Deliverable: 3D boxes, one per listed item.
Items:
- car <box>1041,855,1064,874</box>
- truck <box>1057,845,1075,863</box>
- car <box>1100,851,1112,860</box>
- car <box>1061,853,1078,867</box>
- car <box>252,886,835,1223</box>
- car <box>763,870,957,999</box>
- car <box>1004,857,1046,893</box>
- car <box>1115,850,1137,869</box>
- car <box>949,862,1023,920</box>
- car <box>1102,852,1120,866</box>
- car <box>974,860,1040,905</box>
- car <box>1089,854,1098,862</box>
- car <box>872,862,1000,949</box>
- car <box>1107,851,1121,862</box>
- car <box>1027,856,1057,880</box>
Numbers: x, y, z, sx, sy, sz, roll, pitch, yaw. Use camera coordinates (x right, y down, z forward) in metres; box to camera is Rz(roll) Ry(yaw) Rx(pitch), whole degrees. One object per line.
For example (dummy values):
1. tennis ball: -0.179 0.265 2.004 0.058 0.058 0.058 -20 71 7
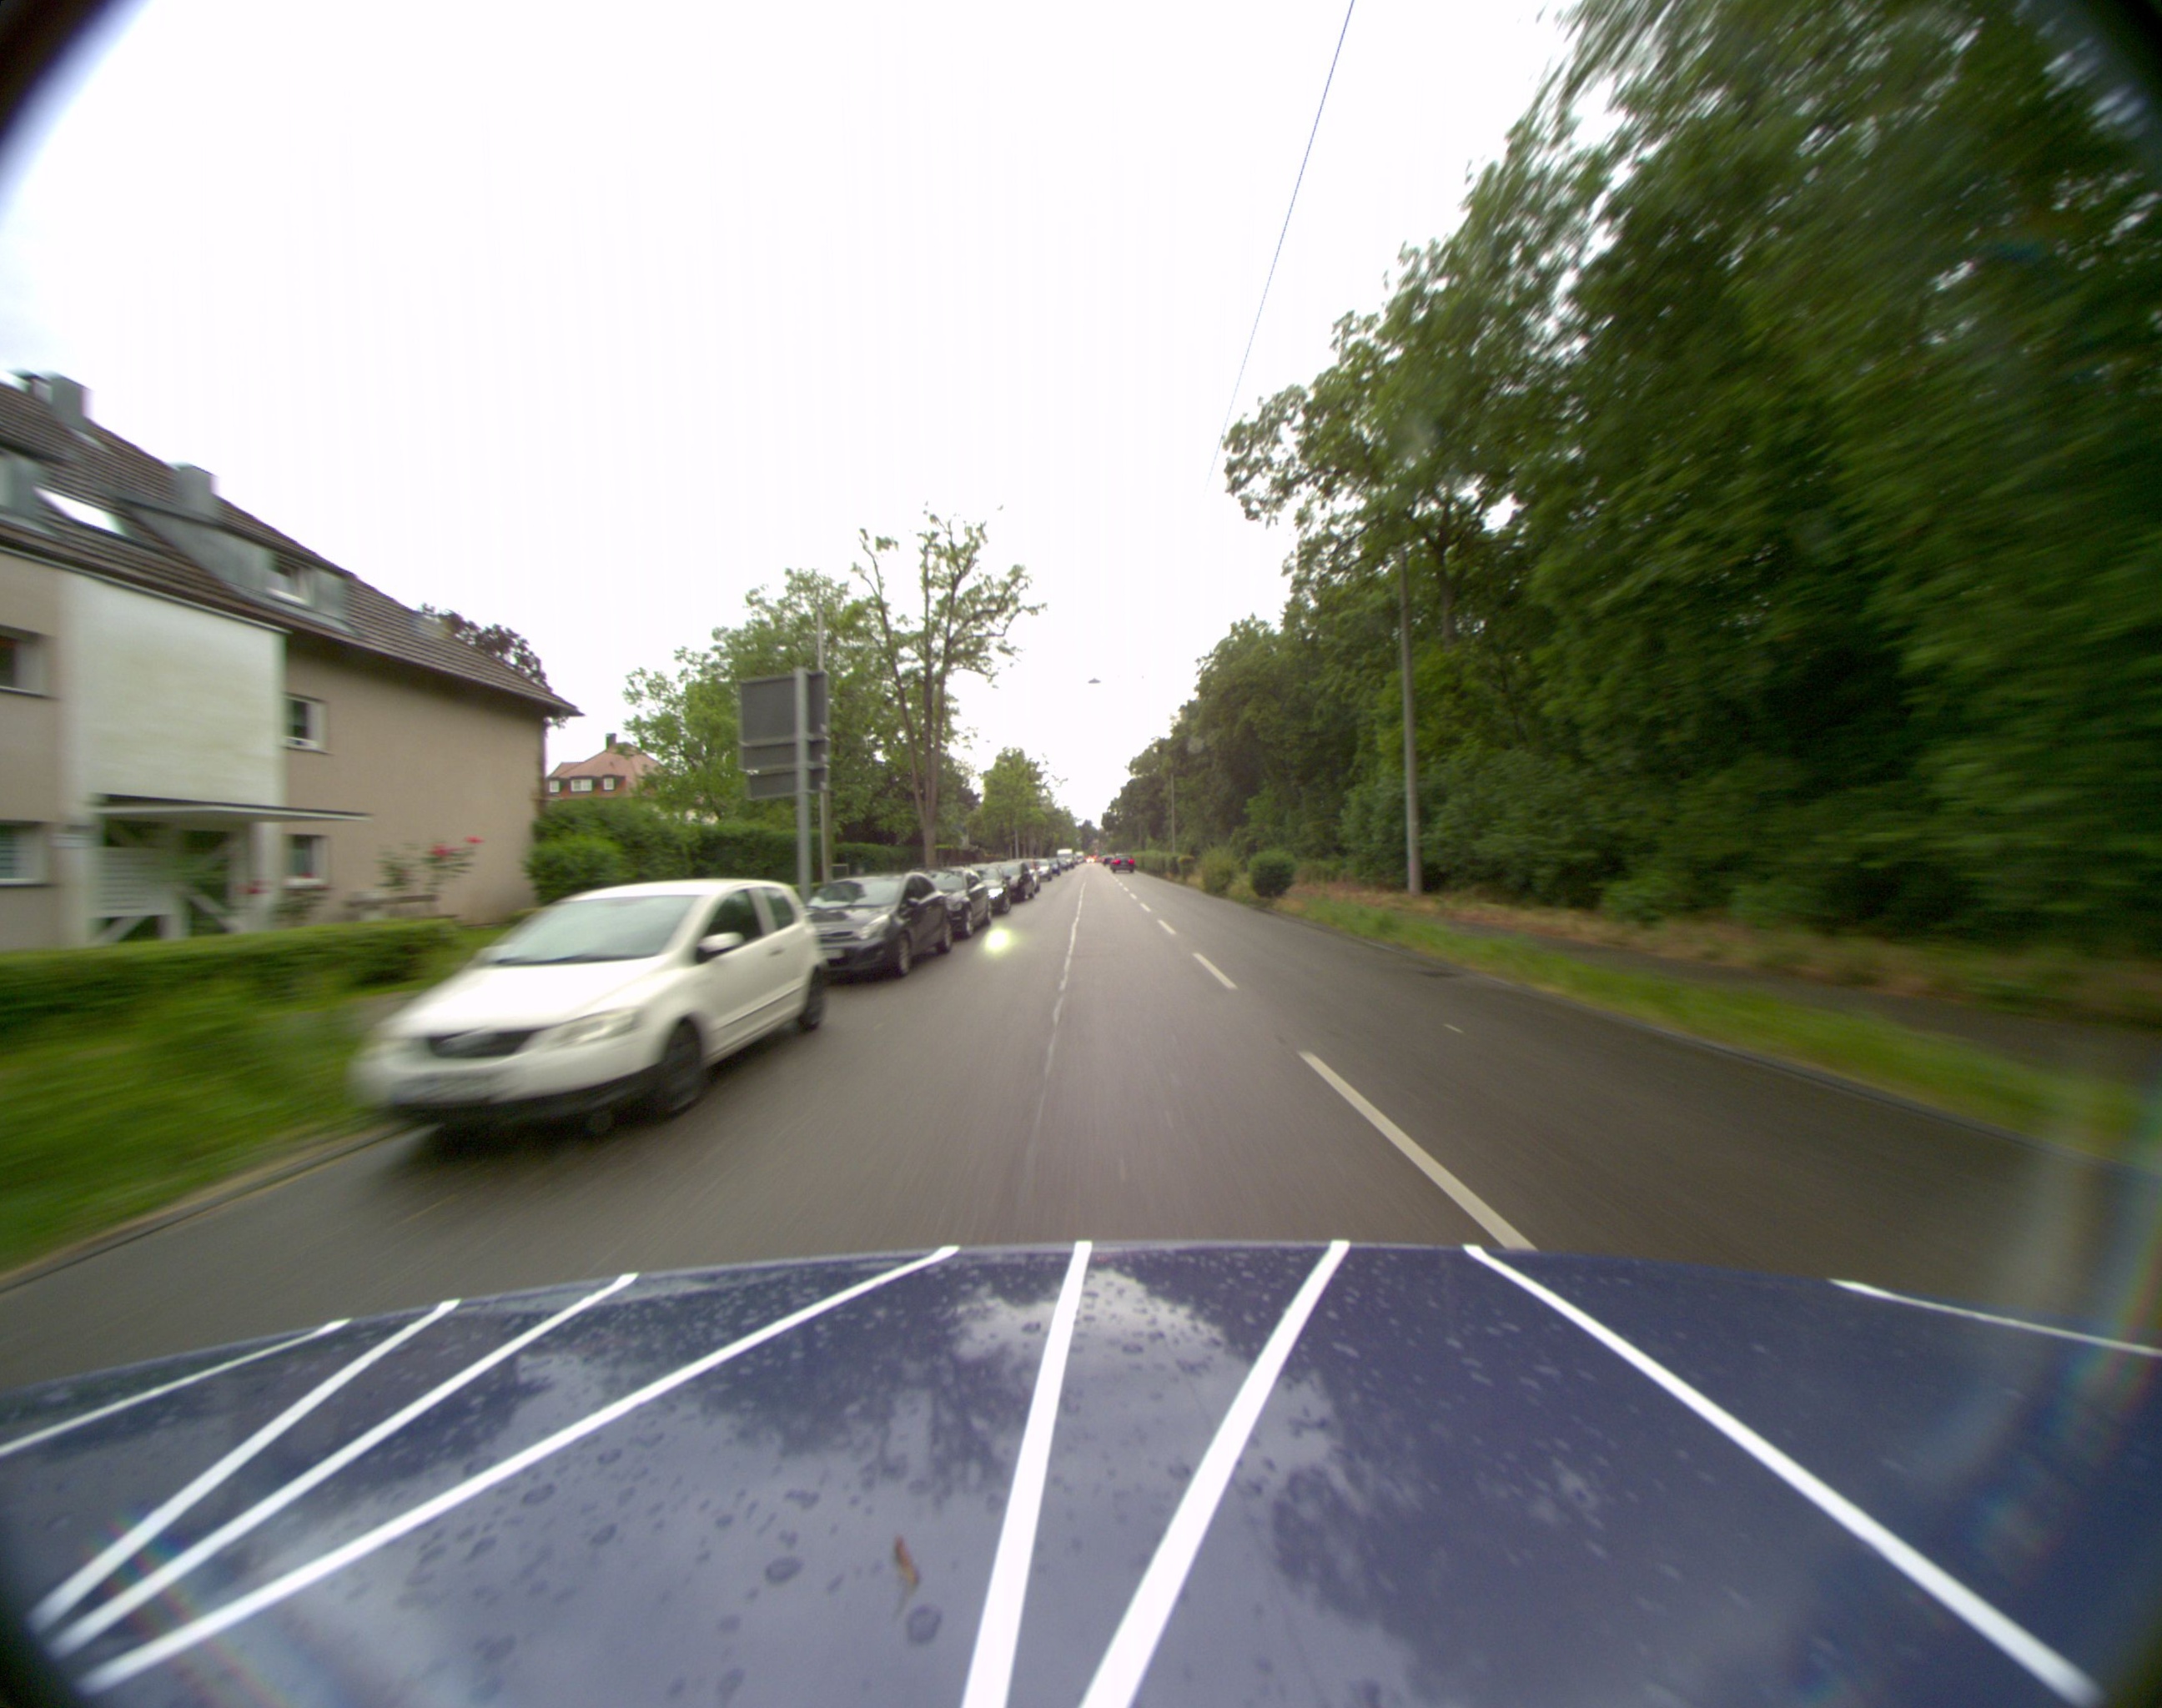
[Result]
1. car: -2.393 0.858 63.747 1.675 1.420 3.699 -3 0 1
2. truck: -1.848 -0.006 96.794 2.230 2.321 5.113 0 0 0
3. car: 4.486 0.268 138.329 1.998 1.543 4.000 0 0 0
4. car: -1.256 0.662 83.957 1.789 1.452 3.999 0 0 -1
5. car: -3.333 1.102 5.730 1.575 1.463 3.765 -3 0 1
6. car: -3.139 1.077 11.665 1.621 1.462 3.944 -3 0 2
7. car: -2.521 0.929 34.566 1.601 1.508 2.801 -3 0 1
8. car: 3.939 0.491 67.449 1.680 1.608 4.062 0 0 0
9. car: -2.799 1.052 23.222 1.621 1.459 4.410 -3 0 0
10. car: 3.315 0.511 84.033 1.718 1.438 4.051 0 0 -2
11. car: -2.655 0.998 28.229 1.732 1.402 4.001 -3 0 4
12. car: 3.198 0.965 187.595 1.998 2.002 4.000 -3 1 3
13. car: -3.031 1.010 16.935 1.757 1.517 4.823 -3 0 1
14. car: 4.754 0.365 110.294 1.851 1.490 3.999 0 0 -1
15. car: -2.544 0.882 50.568 1.675 1.420 3.699 -3 0 1
